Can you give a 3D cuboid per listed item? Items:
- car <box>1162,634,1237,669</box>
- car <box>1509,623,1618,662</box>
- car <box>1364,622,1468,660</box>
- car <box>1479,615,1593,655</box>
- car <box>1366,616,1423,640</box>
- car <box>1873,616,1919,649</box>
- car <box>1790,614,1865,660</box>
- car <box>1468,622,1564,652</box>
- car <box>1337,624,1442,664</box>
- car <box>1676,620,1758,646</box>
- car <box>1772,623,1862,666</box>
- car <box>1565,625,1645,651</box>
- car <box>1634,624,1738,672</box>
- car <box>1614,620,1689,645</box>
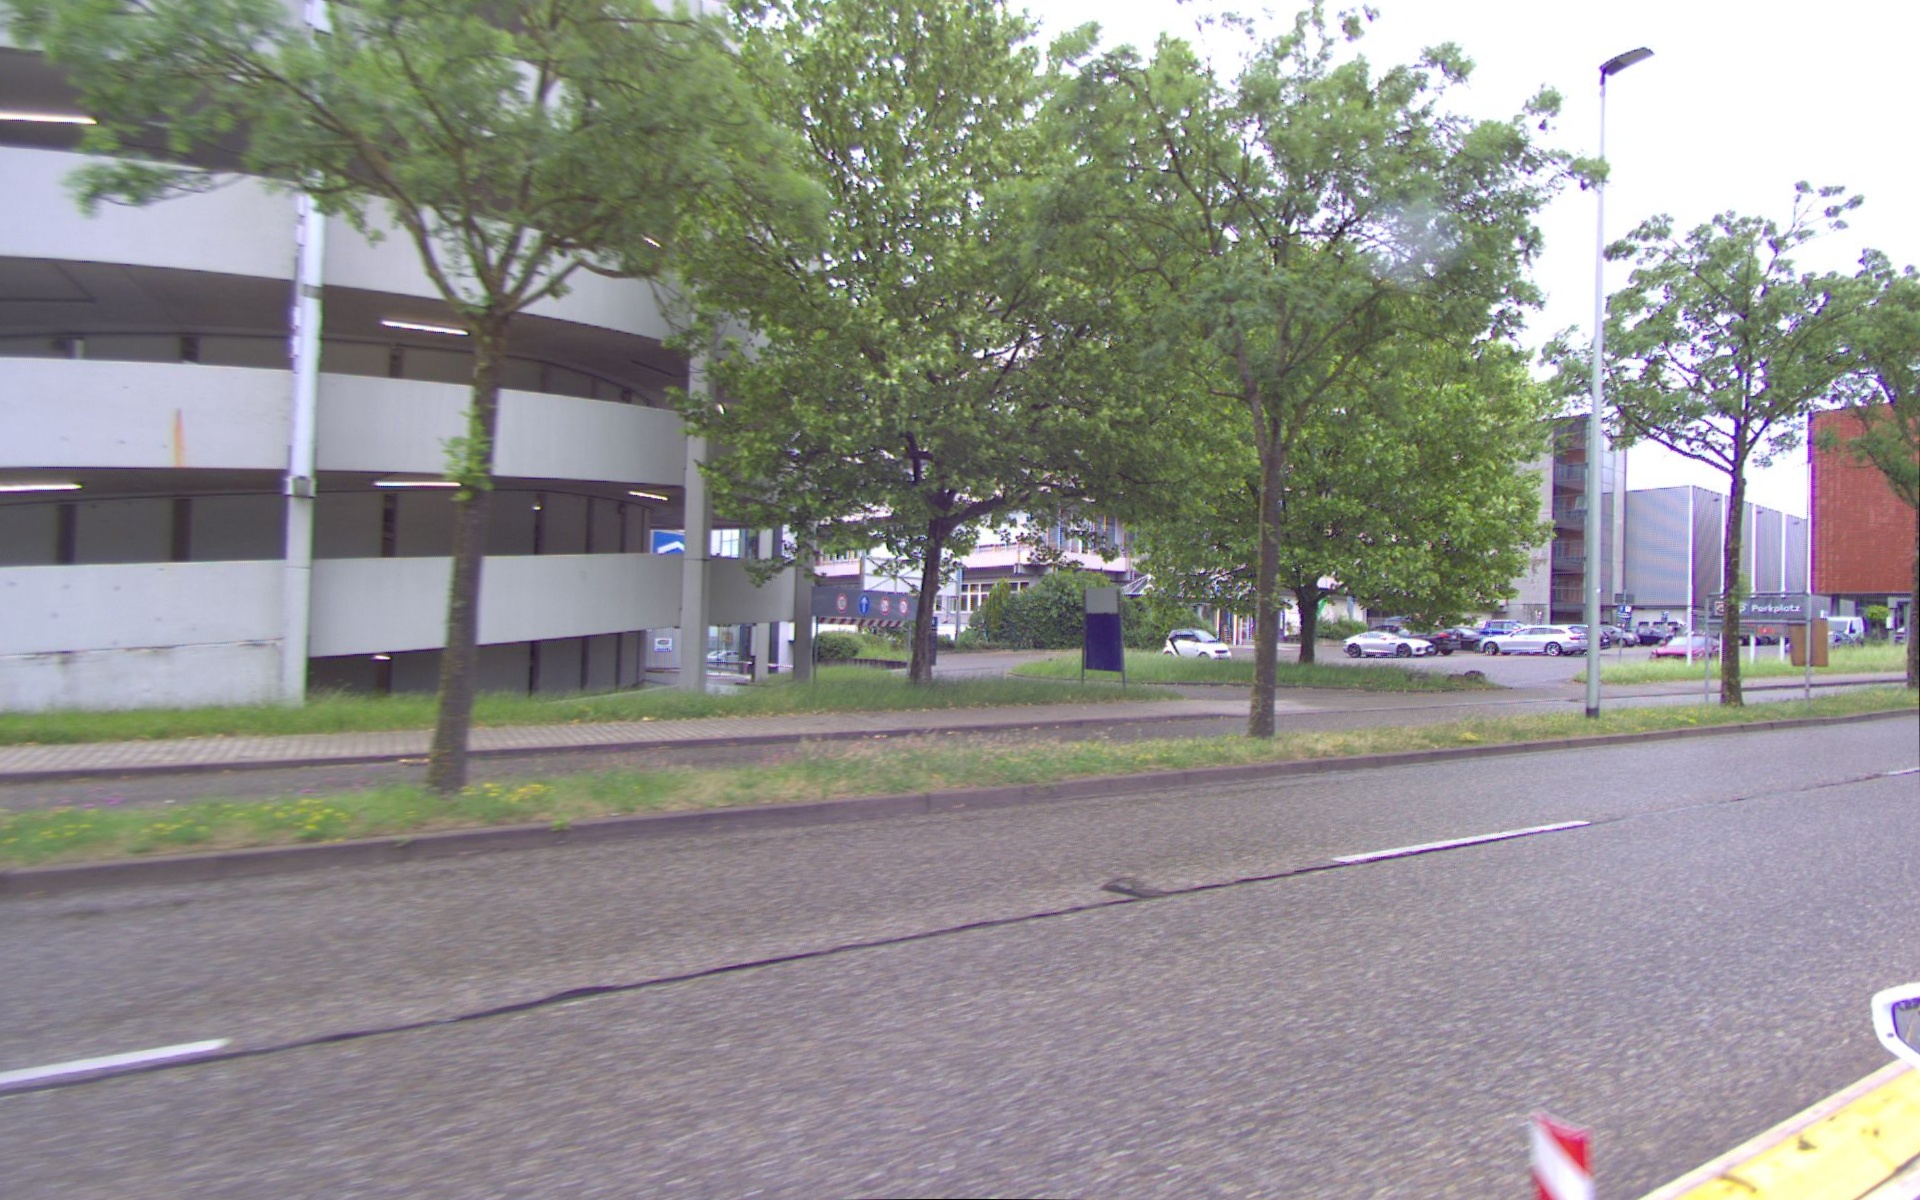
[{"bbox_3d":[10.154,2.170,42.678,1.597,1.383,2.674,-1,-2,-40],"label":"car"},{"bbox_3d":[30.971,2.133,51.637,1.883,1.769,4.465,-1,1,-37],"label":"car"},{"bbox_3d":[24.007,2.132,53.041,2.117,1.769,4.558,-1,1,-41],"label":"car"},{"bbox_3d":[28.631,1.716,50.041,1.949,1.769,4.564,-1,1,-37],"label":"car"},{"bbox_3d":[35.461,2.239,82.076,1.783,1.756,3.959,-1,1,-36],"label":"car"},{"bbox_3d":[57.225,1.938,60.567,4.557,1.797,2.126,0,1,-33],"label":"car"},{"bbox_3d":[45.029,1.858,52.092,5.078,2.124,2.097,-1,1,-39],"label":"car"},{"bbox_3d":[32.807,2.173,59.362,2.007,1.530,4.575,-1,1,-37],"label":"car"},{"bbox_3d":[21.761,2.203,51.031,1.951,1.769,4.558,-1,1,-41],"label":"car"},{"bbox_3d":[50.234,2.169,66.707,1.802,1.530,4.078,-1,1,-37],"label":"car"},{"bbox_3d":[40.931,2.091,47.943,4.892,1.786,2.027,0,1,-33],"label":"car"},{"bbox_3d":[43.749,2.536,68.225,1.831,1.530,4.243,-1,1,-37],"label":"car"},{"bbox_3d":[28.601,1.843,39.541,4.664,1.630,1.920,0,1,-35],"label":"car"},{"bbox_3d":[49.061,2.280,71.347,1.802,1.530,4.078,-1,1,-37],"label":"car"}]
